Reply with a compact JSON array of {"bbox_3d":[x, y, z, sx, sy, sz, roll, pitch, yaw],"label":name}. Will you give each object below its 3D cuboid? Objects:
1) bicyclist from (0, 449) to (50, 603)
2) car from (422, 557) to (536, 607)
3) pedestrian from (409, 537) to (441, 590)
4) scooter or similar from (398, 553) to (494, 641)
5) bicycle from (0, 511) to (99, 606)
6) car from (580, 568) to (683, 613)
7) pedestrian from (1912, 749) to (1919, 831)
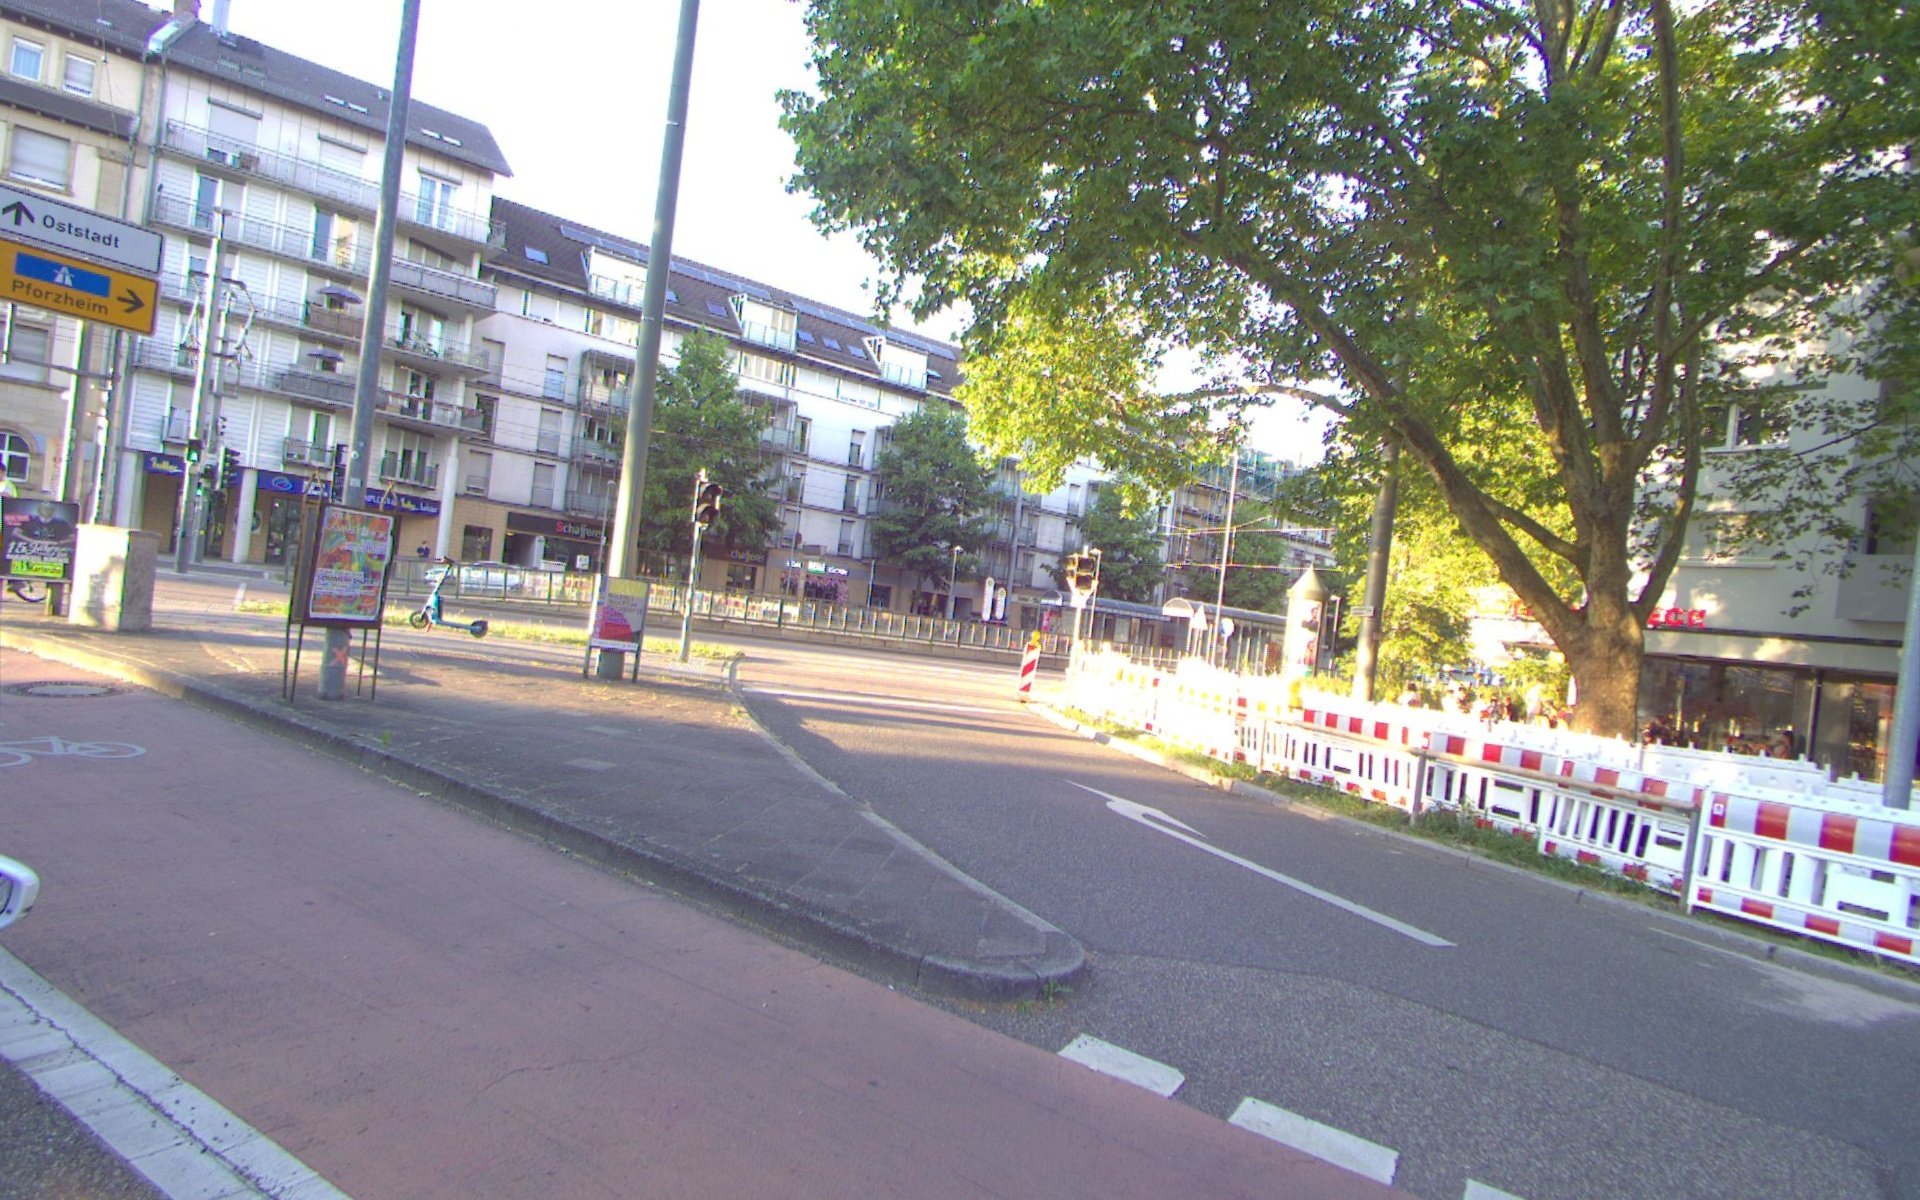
[{"bbox_3d":[-11.978,-0.933,12.427,0.617,1.845,0.699,7,-1,0],"label":"bicyclist"},{"bbox_3d":[-20.103,-0.753,42.100,3.964,1.503,1.833,9,-2,-34],"label":"car"},{"bbox_3d":[-23.649,-1.614,44.481,0.864,2.234,0.812,8,-1,-39],"label":"pedestrian"},{"bbox_3d":[-8.419,-0.040,16.516,1.217,1.264,0.513,8,-1,-19],"label":"scooter or similar"},{"bbox_3d":[-12.035,-0.550,12.590,0.617,1.122,2.073,7,-2,0],"label":"bicycle"},{"bbox_3d":[-14.935,-0.428,45.862,3.970,1.503,1.830,9,-3,-39],"label":"car"},{"bbox_3d":[15.693,2.909,15.843,0.733,1.607,0.641,6,-1,25],"label":"pedestrian"}]
